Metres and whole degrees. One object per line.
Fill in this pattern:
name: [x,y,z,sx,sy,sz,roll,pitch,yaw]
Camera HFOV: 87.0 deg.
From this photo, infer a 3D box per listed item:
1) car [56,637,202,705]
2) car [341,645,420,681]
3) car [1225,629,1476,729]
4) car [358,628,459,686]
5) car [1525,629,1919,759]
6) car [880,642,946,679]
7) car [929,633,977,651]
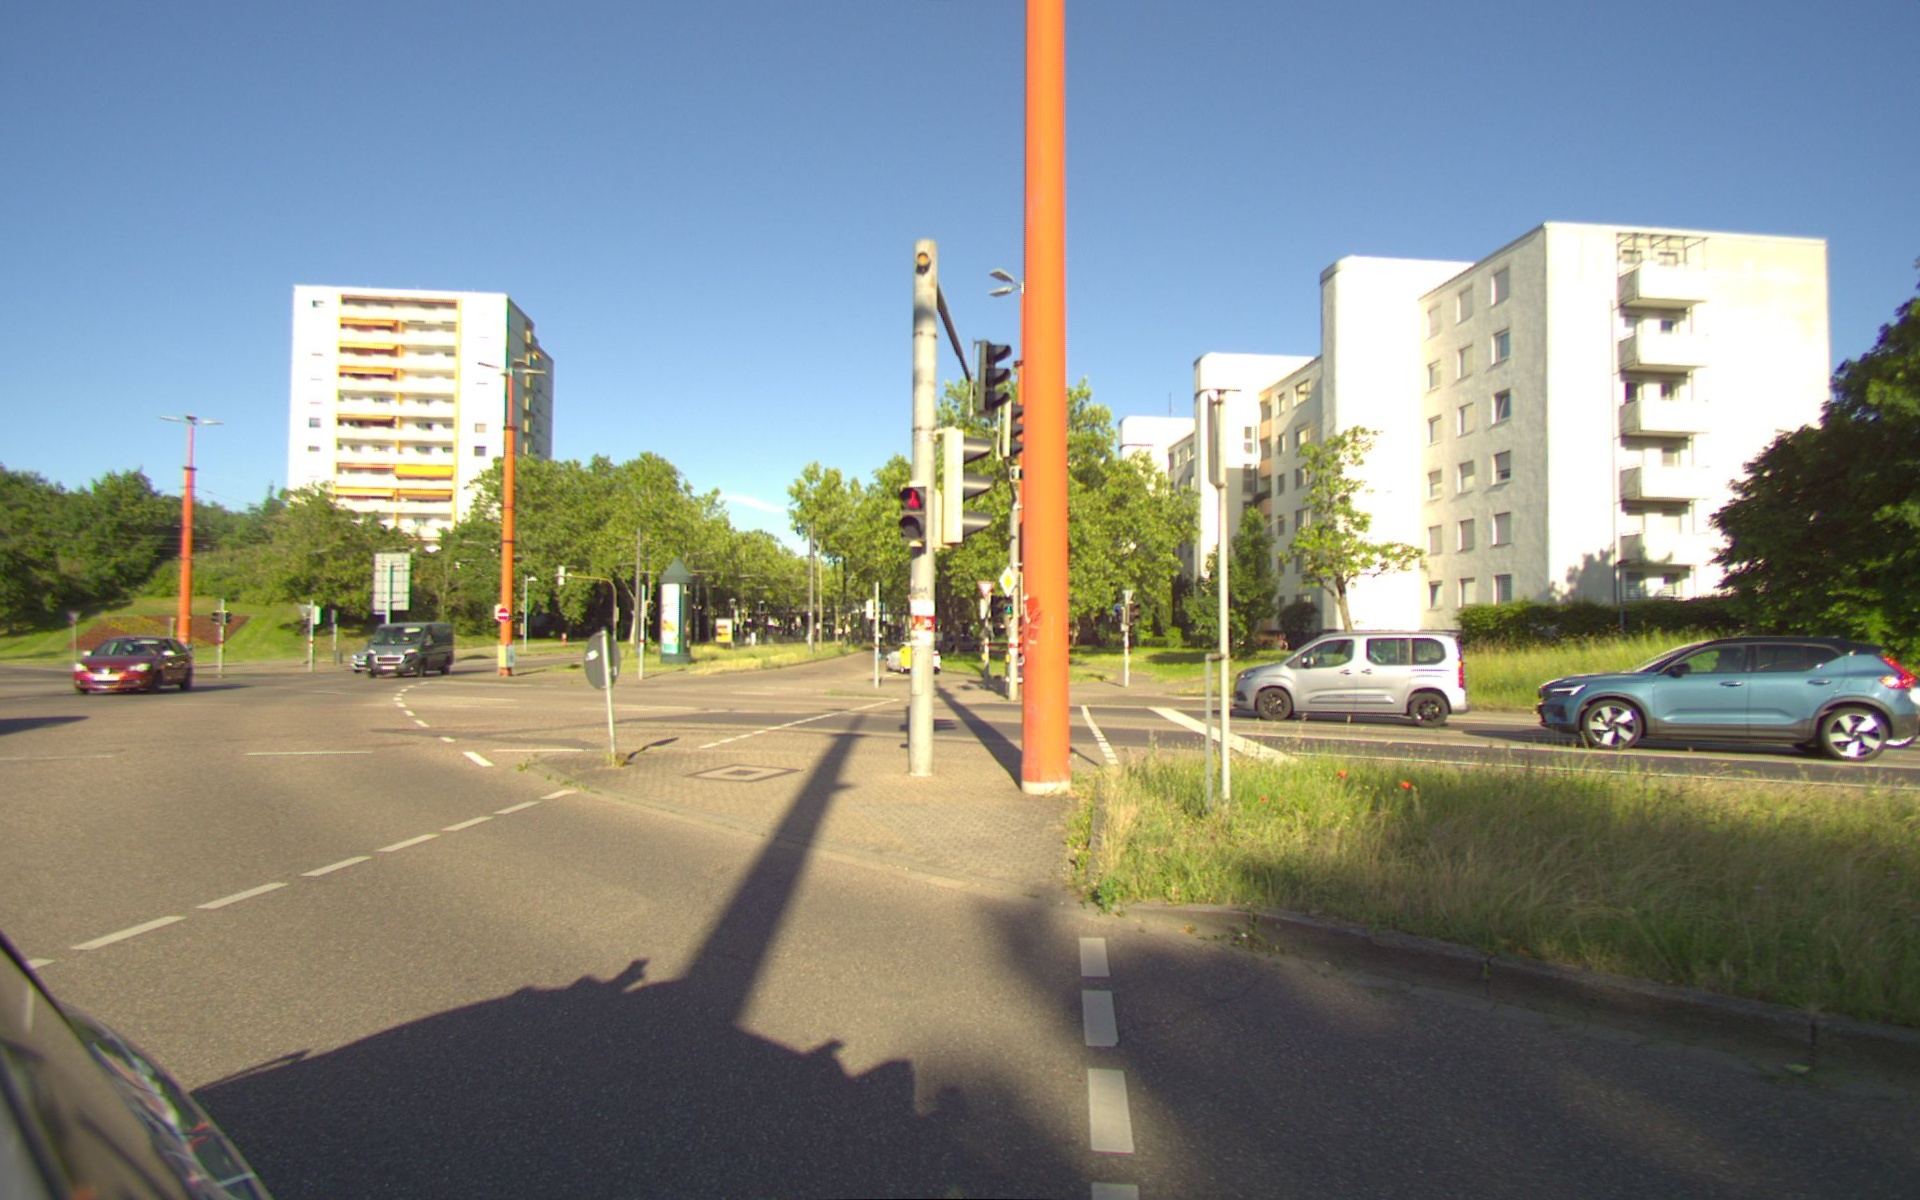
car: [-21.295,1.754,26.167,1.742,1.570,4.741,1,-2,-25]
car: [-27.277,2.939,47.807,1.883,1.570,4.738,0,-2,-13]
car: [7.663,1.516,19.990,4.424,1.789,1.887,-1,-4,27]
car: [-22.690,2.276,41.916,2.008,2.221,5.673,0,-2,-11]
car: [10.713,1.268,14.394,4.542,1.623,1.887,-1,-4,27]
car: [-2.263,2.814,47.423,1.872,1.562,4.273,3,-3,-20]
car: [-0.585,3.589,86.611,3.987,1.498,1.817,1,-3,-42]
